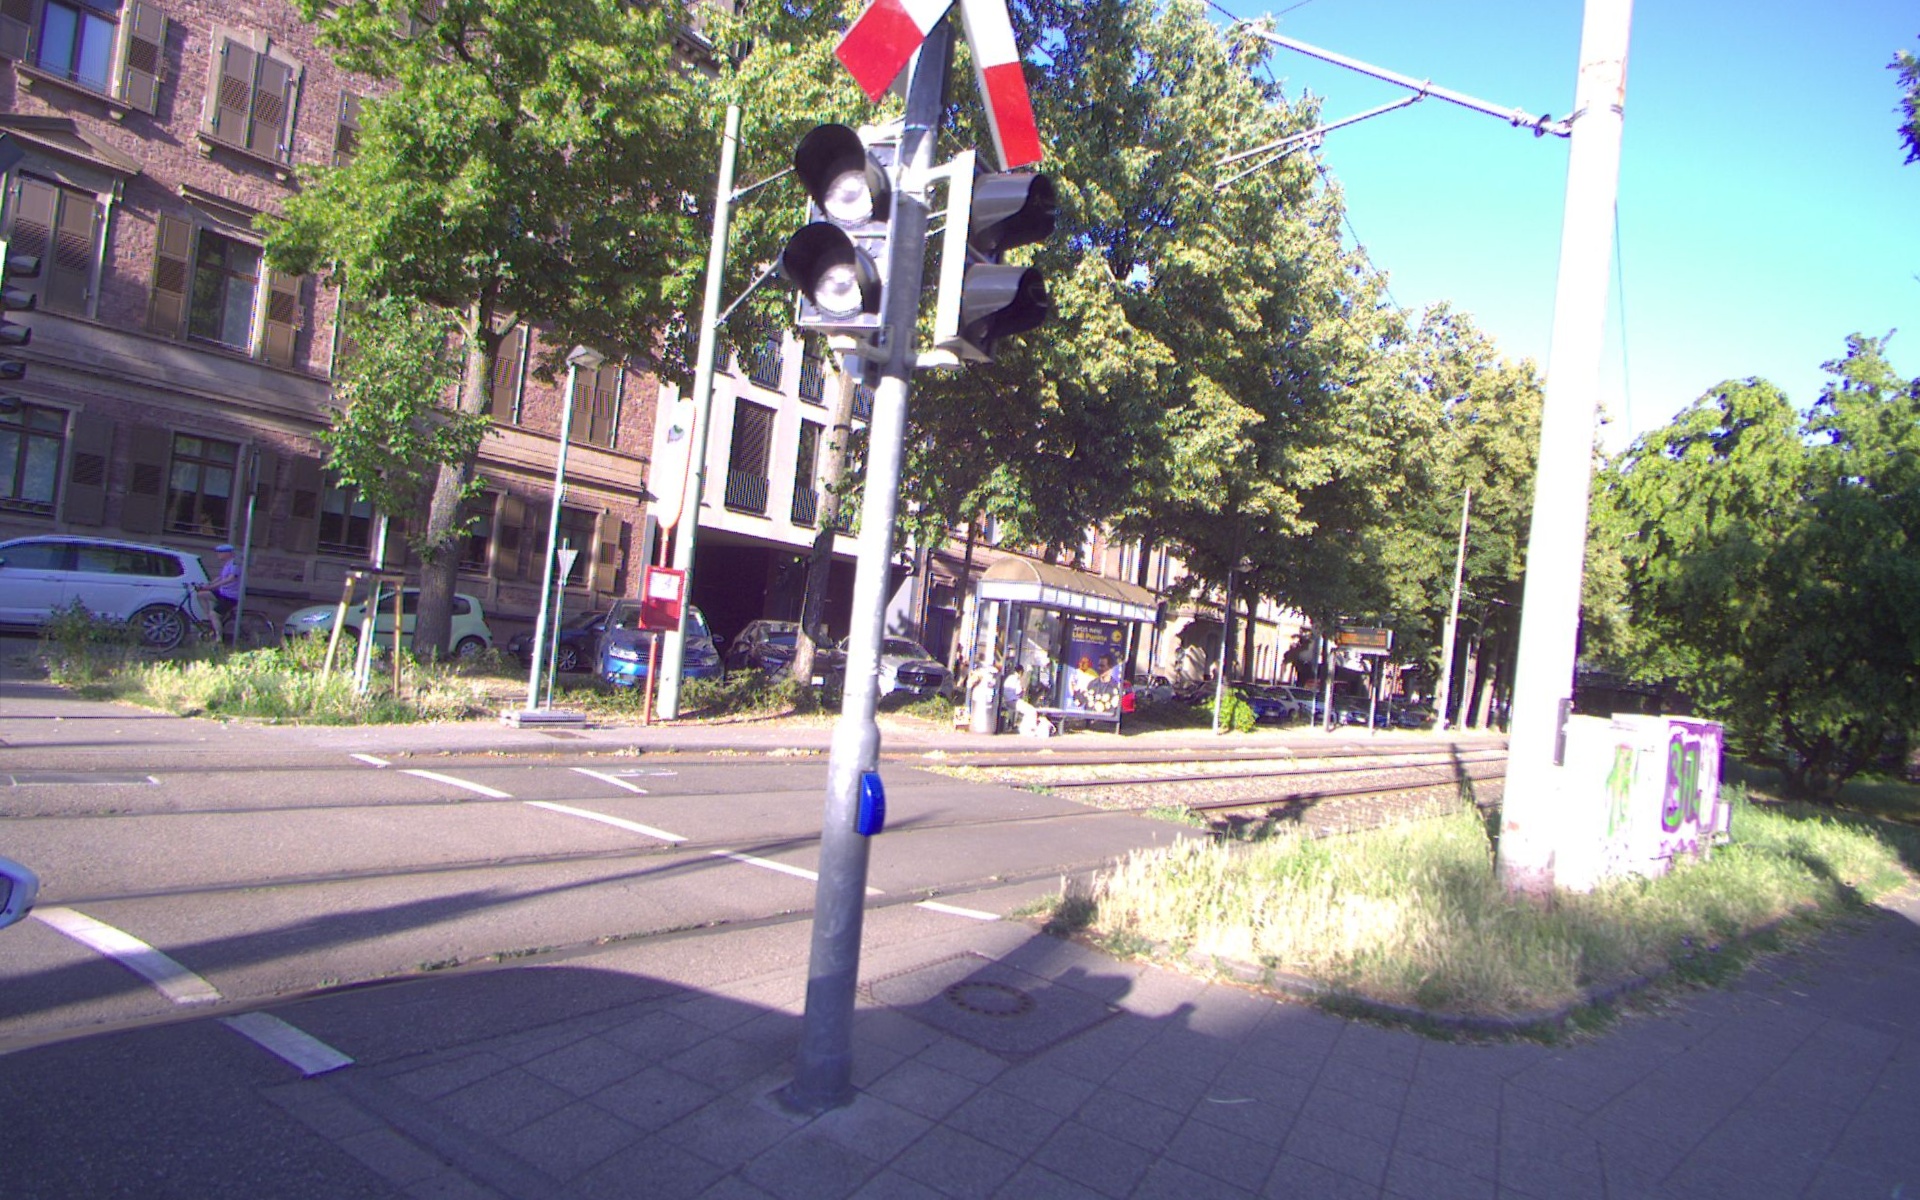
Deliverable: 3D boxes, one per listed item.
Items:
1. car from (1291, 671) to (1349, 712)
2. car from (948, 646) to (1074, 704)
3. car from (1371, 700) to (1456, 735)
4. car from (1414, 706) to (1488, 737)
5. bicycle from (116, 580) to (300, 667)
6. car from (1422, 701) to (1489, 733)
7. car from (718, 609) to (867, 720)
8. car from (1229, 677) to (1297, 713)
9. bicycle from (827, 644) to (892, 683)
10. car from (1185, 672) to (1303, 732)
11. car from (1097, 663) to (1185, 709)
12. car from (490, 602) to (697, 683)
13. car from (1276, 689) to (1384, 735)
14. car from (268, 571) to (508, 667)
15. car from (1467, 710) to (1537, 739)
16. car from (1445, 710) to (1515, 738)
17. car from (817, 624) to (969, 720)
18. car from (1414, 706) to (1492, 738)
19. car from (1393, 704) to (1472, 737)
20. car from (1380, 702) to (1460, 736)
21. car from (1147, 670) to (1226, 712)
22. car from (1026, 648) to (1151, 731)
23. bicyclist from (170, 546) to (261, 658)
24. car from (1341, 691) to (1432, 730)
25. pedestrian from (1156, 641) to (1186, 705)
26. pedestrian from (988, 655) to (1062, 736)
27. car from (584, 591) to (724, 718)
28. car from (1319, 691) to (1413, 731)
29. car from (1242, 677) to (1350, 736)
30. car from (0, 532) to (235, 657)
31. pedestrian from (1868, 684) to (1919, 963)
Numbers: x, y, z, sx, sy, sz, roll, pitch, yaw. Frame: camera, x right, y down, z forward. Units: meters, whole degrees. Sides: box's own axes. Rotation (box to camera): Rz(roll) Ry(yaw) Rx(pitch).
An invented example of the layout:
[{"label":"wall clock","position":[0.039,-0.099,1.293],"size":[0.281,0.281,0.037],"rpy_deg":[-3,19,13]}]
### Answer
[{"label":"car","position":[22.666,5.763,63.239],"size":[1.970,2.197,4.599],"rpy_deg":[6,-2,37]},{"label":"car","position":[1.876,2.688,35.608],"size":[1.972,1.585,4.576],"rpy_deg":[5,-3,40]},{"label":"car","position":[24.140,6.239,53.693],"size":[1.724,1.293,3.985],"rpy_deg":[8,-2,-19]},{"label":"car","position":[30.722,7.597,63.037],"size":[1.724,1.293,3.985],"rpy_deg":[8,-2,-19]},{"label":"bicycle","position":[-11.603,0.386,15.594],"size":[0.692,1.065,2.113],"rpy_deg":[4,-5,45]},{"label":"car","position":[36.628,8.647,74.407],"size":[1.732,1.787,3.966],"rpy_deg":[8,-2,-33]},{"label":"car","position":[-3.336,1.128,19.193],"size":[1.902,1.653,4.536],"rpy_deg":[7,-2,-19]},{"label":"car","position":[16.648,5.230,55.172],"size":[1.970,1.585,4.599],"rpy_deg":[6,-3,37]},{"label":"bicycle","position":[-3.566,2.253,35.680],"size":[2.068,1.129,0.679],"rpy_deg":[7,-2,-22]},{"label":"car","position":[9.618,3.436,34.479],"size":[1.782,1.504,4.270],"rpy_deg":[7,-2,-16]},{"label":"car","position":[7.940,3.764,43.812],"size":[1.970,1.585,4.231],"rpy_deg":[6,-3,37]},{"label":"car","position":[-8.418,1.022,23.398],"size":[1.720,1.505,4.147],"rpy_deg":[1,-6,41]},{"label":"car","position":[15.100,4.547,41.292],"size":[1.783,1.293,4.267],"rpy_deg":[7,-2,-19]},{"label":"car","position":[-11.334,0.423,20.124],"size":[1.718,1.505,3.711],"rpy_deg":[1,-5,39]},{"label":"car","position":[36.746,8.428,68.310],"size":[1.724,1.293,3.985],"rpy_deg":[8,-2,-19]},{"label":"car","position":[34.785,8.288,67.379],"size":[1.724,1.293,3.985],"rpy_deg":[8,-2,-19]},{"label":"car","position":[-1.544,1.434,21.121],"size":[1.902,1.504,4.536],"rpy_deg":[7,-2,-19]},{"label":"car","position":[29.239,7.217,59.799],"size":[1.724,1.293,3.985],"rpy_deg":[8,-2,-19]},{"label":"car","position":[27.219,6.910,58.105],"size":[1.724,1.293,3.985],"rpy_deg":[8,-2,-19]},{"label":"car","position":[25.680,6.629,56.276],"size":[1.724,1.293,3.985],"rpy_deg":[8,-2,-19]},{"label":"car","position":[10.670,4.300,47.199],"size":[1.970,1.585,4.231],"rpy_deg":[6,-3,37]},{"label":"car","position":[3.337,2.324,27.130],"size":[1.897,1.741,4.547],"rpy_deg":[7,-2,-10]},{"label":"bicyclist","position":[-11.559,0.039,15.615],"size":[0.692,1.606,0.870],"rpy_deg":[4,-4,45]},{"label":"car","position":[20.453,5.306,48.404],"size":[1.724,1.293,3.985],"rpy_deg":[8,-2,-19]},{"label":"pedestrian","position":[10.312,3.571,49.160],"size":[0.907,2.982,0.698],"rpy_deg":[5,-2,37]},{"label":"pedestrian","position":[1.130,1.662,17.545],"size":[0.813,1.287,0.873],"rpy_deg":[5,-2,41]},{"label":"car","position":[-5.237,0.879,16.856],"size":[1.718,1.706,4.403],"rpy_deg":[7,-4,-22]},{"label":"car","position":[18.655,5.086,46.394],"size":[1.724,1.293,3.985],"rpy_deg":[8,-2,-19]},{"label":"car","position":[13.130,4.137,39.569],"size":[1.782,1.715,4.270],"rpy_deg":[7,-2,-16]},{"label":"car","position":[-14.602,-0.116,16.100],"size":[1.850,1.667,4.479],"rpy_deg":[1,-6,41]},{"label":"pedestrian","position":[7.412,1.666,7.328],"size":[1.142,1.941,0.895],"rpy_deg":[8,-1,-40]}]
